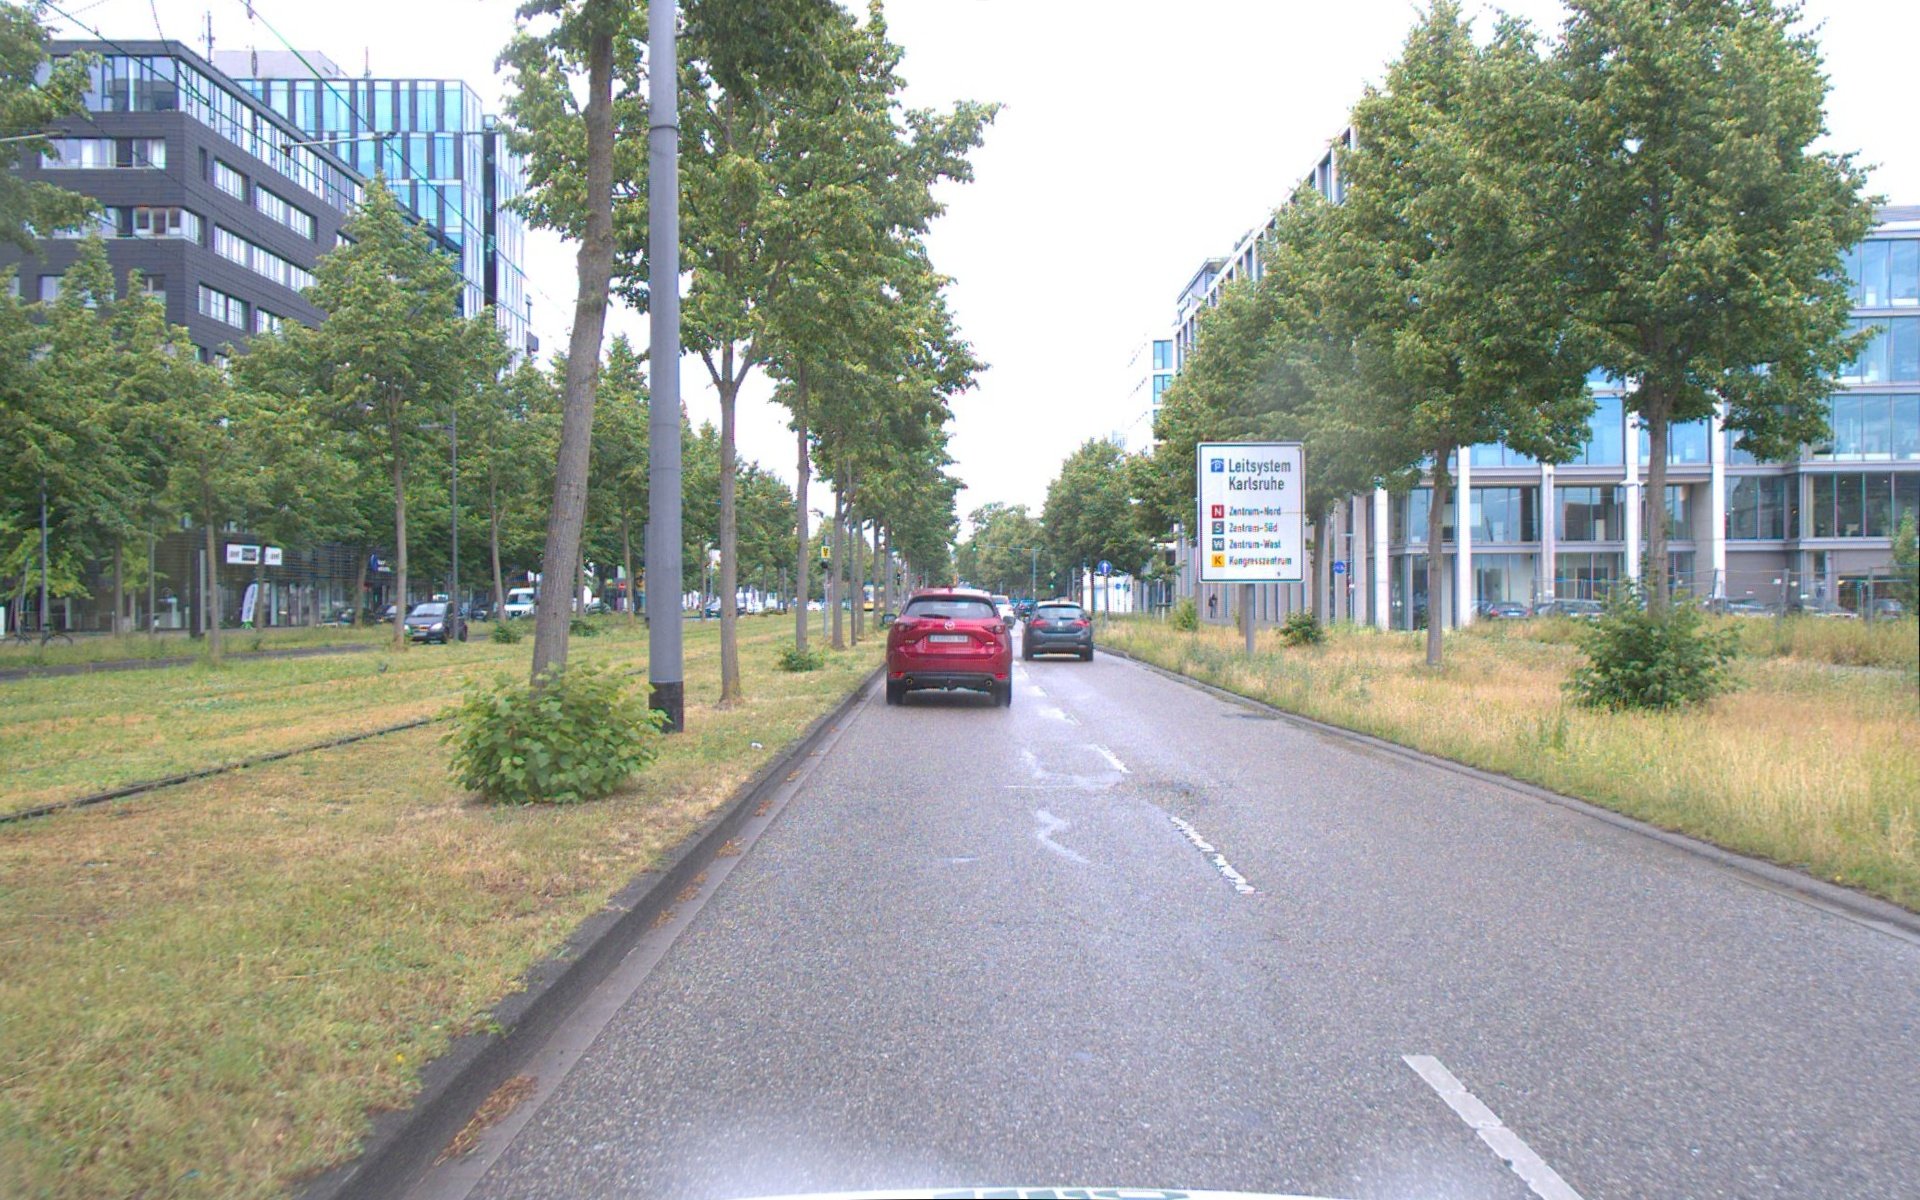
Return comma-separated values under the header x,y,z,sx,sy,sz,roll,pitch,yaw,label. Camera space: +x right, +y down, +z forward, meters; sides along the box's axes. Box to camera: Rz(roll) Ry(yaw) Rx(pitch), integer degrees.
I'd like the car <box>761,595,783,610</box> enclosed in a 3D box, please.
x,y,z,sx,sy,sz,roll,pitch,yaw,label
-19.455,0.260,171.422,1.825,1.551,4.479,0,0,0,car

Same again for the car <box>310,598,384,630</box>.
x,y,z,sx,sy,sz,roll,pitch,yaw,label
-28.062,0.630,75.822,1.953,1.402,4.000,0,0,-1,car

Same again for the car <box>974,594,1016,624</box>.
x,y,z,sx,sy,sz,roll,pitch,yaw,label
1.783,0.448,86.198,1.928,1.462,4.551,1,0,-2,car

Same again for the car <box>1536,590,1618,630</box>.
x,y,z,sx,sy,sz,roll,pitch,yaw,label
23.782,0.360,63.892,1.816,1.480,4.560,0,0,5,car

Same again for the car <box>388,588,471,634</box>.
x,y,z,sx,sy,sz,roll,pitch,yaw,label
-20.048,0.404,62.696,1.953,1.685,3.699,0,0,0,car

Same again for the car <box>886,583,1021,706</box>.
x,y,z,sx,sy,sz,roll,pitch,yaw,label
-0.120,0.611,24.867,1.859,1.706,3.999,0,0,-1,car

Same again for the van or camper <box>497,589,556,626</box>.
x,y,z,sx,sy,sz,roll,pitch,yaw,label
-28.456,0.475,108.820,2.383,2.356,5.849,0,0,0,van or camper

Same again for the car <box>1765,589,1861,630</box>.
x,y,z,sx,sy,sz,roll,pitch,yaw,label
32.385,0.348,62.917,1.748,1.500,4.232,0,0,5,car

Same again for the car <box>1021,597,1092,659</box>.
x,y,z,sx,sy,sz,roll,pitch,yaw,label
2.474,0.683,42.028,1.707,1.490,3.783,0,0,4,car

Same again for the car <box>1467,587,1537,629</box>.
x,y,z,sx,sy,sz,roll,pitch,yaw,label
21.065,0.296,64.414,1.815,1.608,4.003,0,0,7,car

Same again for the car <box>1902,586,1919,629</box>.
x,y,z,sx,sy,sz,roll,pitch,yaw,label
37.377,0.283,62.268,1.816,1.629,4.002,0,0,5,car

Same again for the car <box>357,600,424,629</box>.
x,y,z,sx,sy,sz,roll,pitch,yaw,label
-28.215,0.697,82.014,1.953,1.402,4.000,0,0,-1,car
